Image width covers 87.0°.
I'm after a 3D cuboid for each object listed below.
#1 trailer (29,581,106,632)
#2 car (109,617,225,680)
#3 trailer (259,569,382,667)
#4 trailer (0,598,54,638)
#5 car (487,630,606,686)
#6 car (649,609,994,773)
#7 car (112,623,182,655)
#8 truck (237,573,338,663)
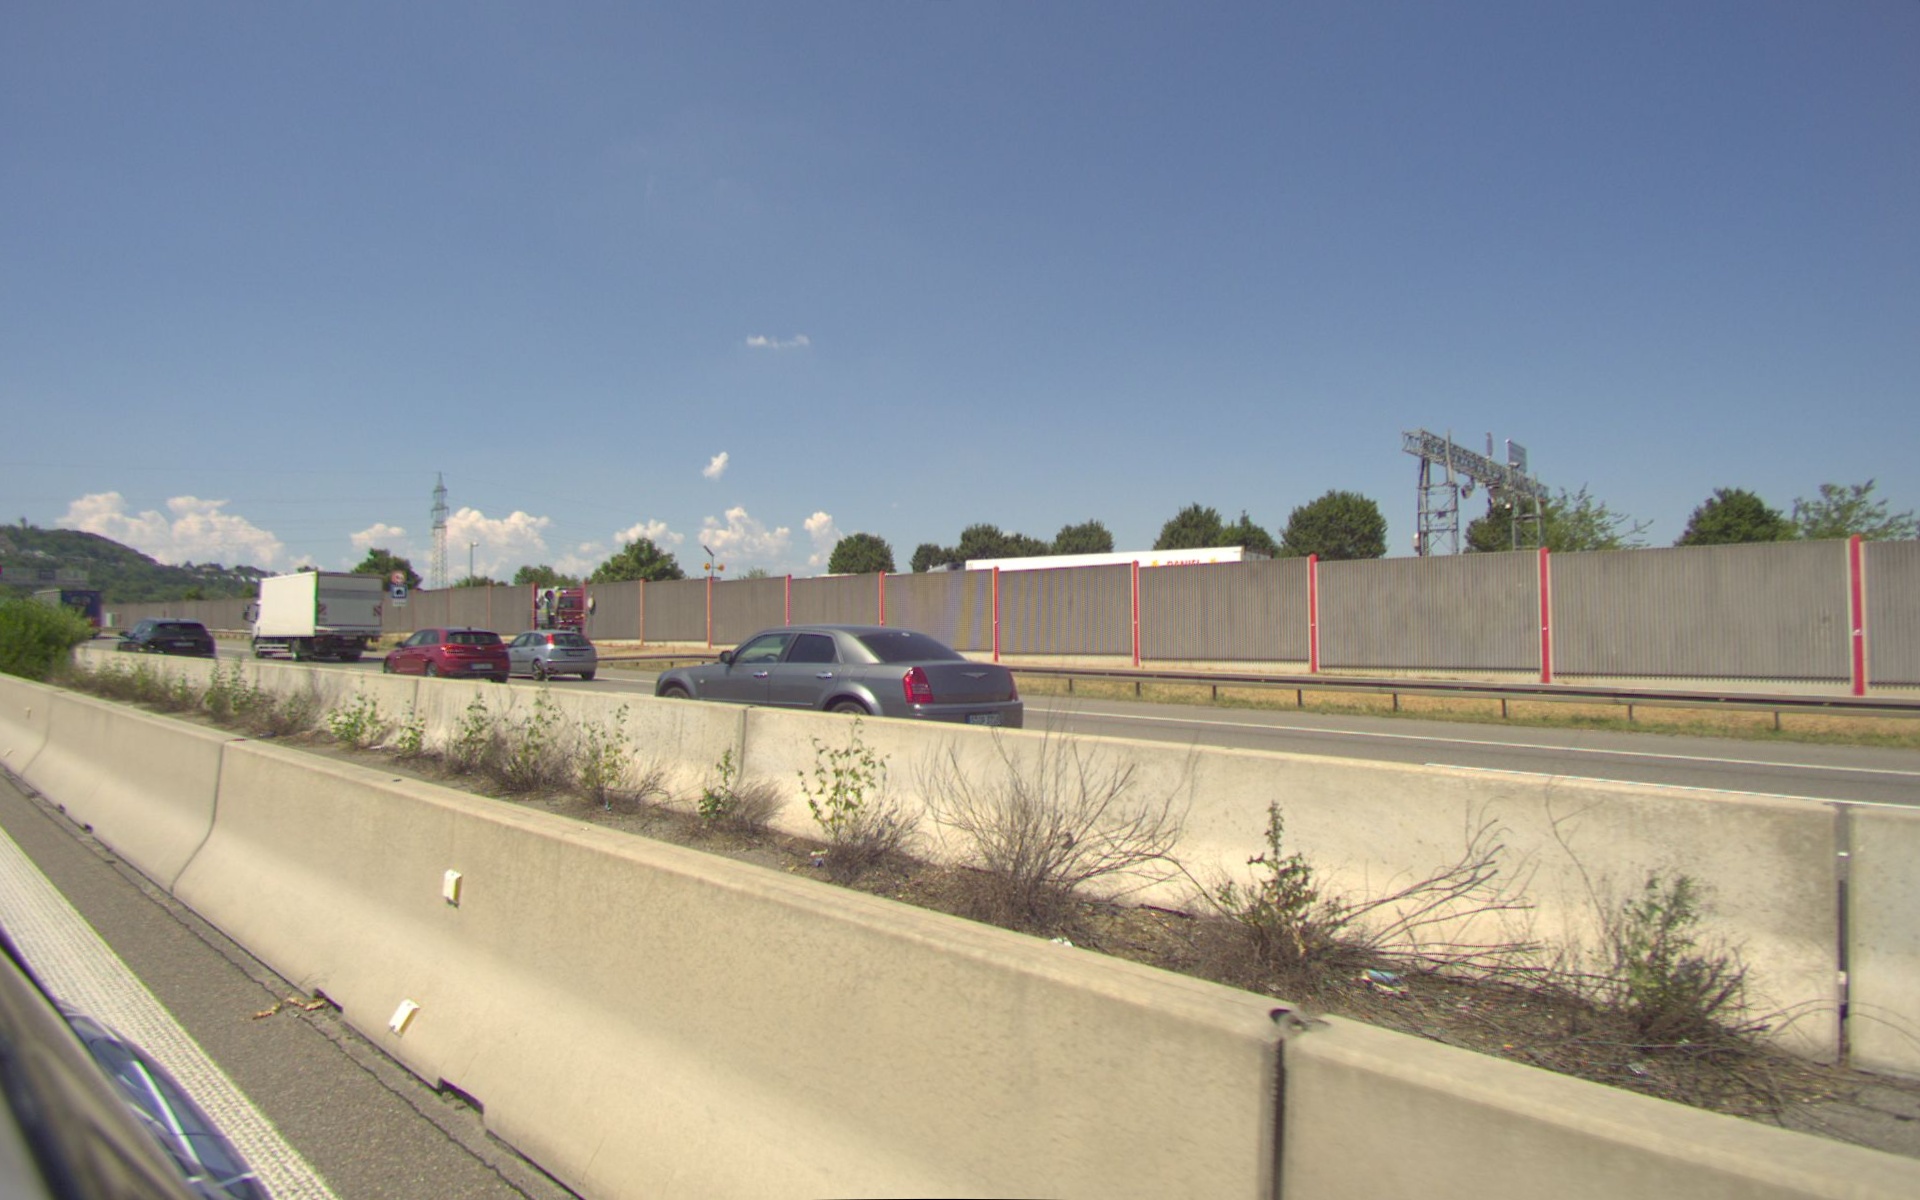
[{"bbox_3d":[-76.375,0.615,86.436,15.155,4.097,2.953,-1,-1,41],"label":"trailer"},{"bbox_3d":[-24.336,1.459,31.017,4.642,1.772,1.973,-2,-2,41],"label":"car"},{"bbox_3d":[-27.448,0.796,43.329,6.613,3.903,2.620,-1,-2,41],"label":"trailer"},{"bbox_3d":[-100.960,1.856,109.002,14.383,4.087,3.222,-1,0,41],"label":"trailer"},{"bbox_3d":[-12.291,1.671,29.973,3.998,1.530,1.638,-1,-2,41],"label":"car"},{"bbox_3d":[-1.678,0.885,11.409,3.998,1.530,1.638,-1,-1,41],"label":"car"},{"bbox_3d":[-39.254,1.866,48.831,5.102,1.441,1.772,-1,-1,41],"label":"car"},{"bbox_3d":[-30.741,0.848,46.220,4.723,3.903,2.613,-1,-2,41],"label":"truck"}]
